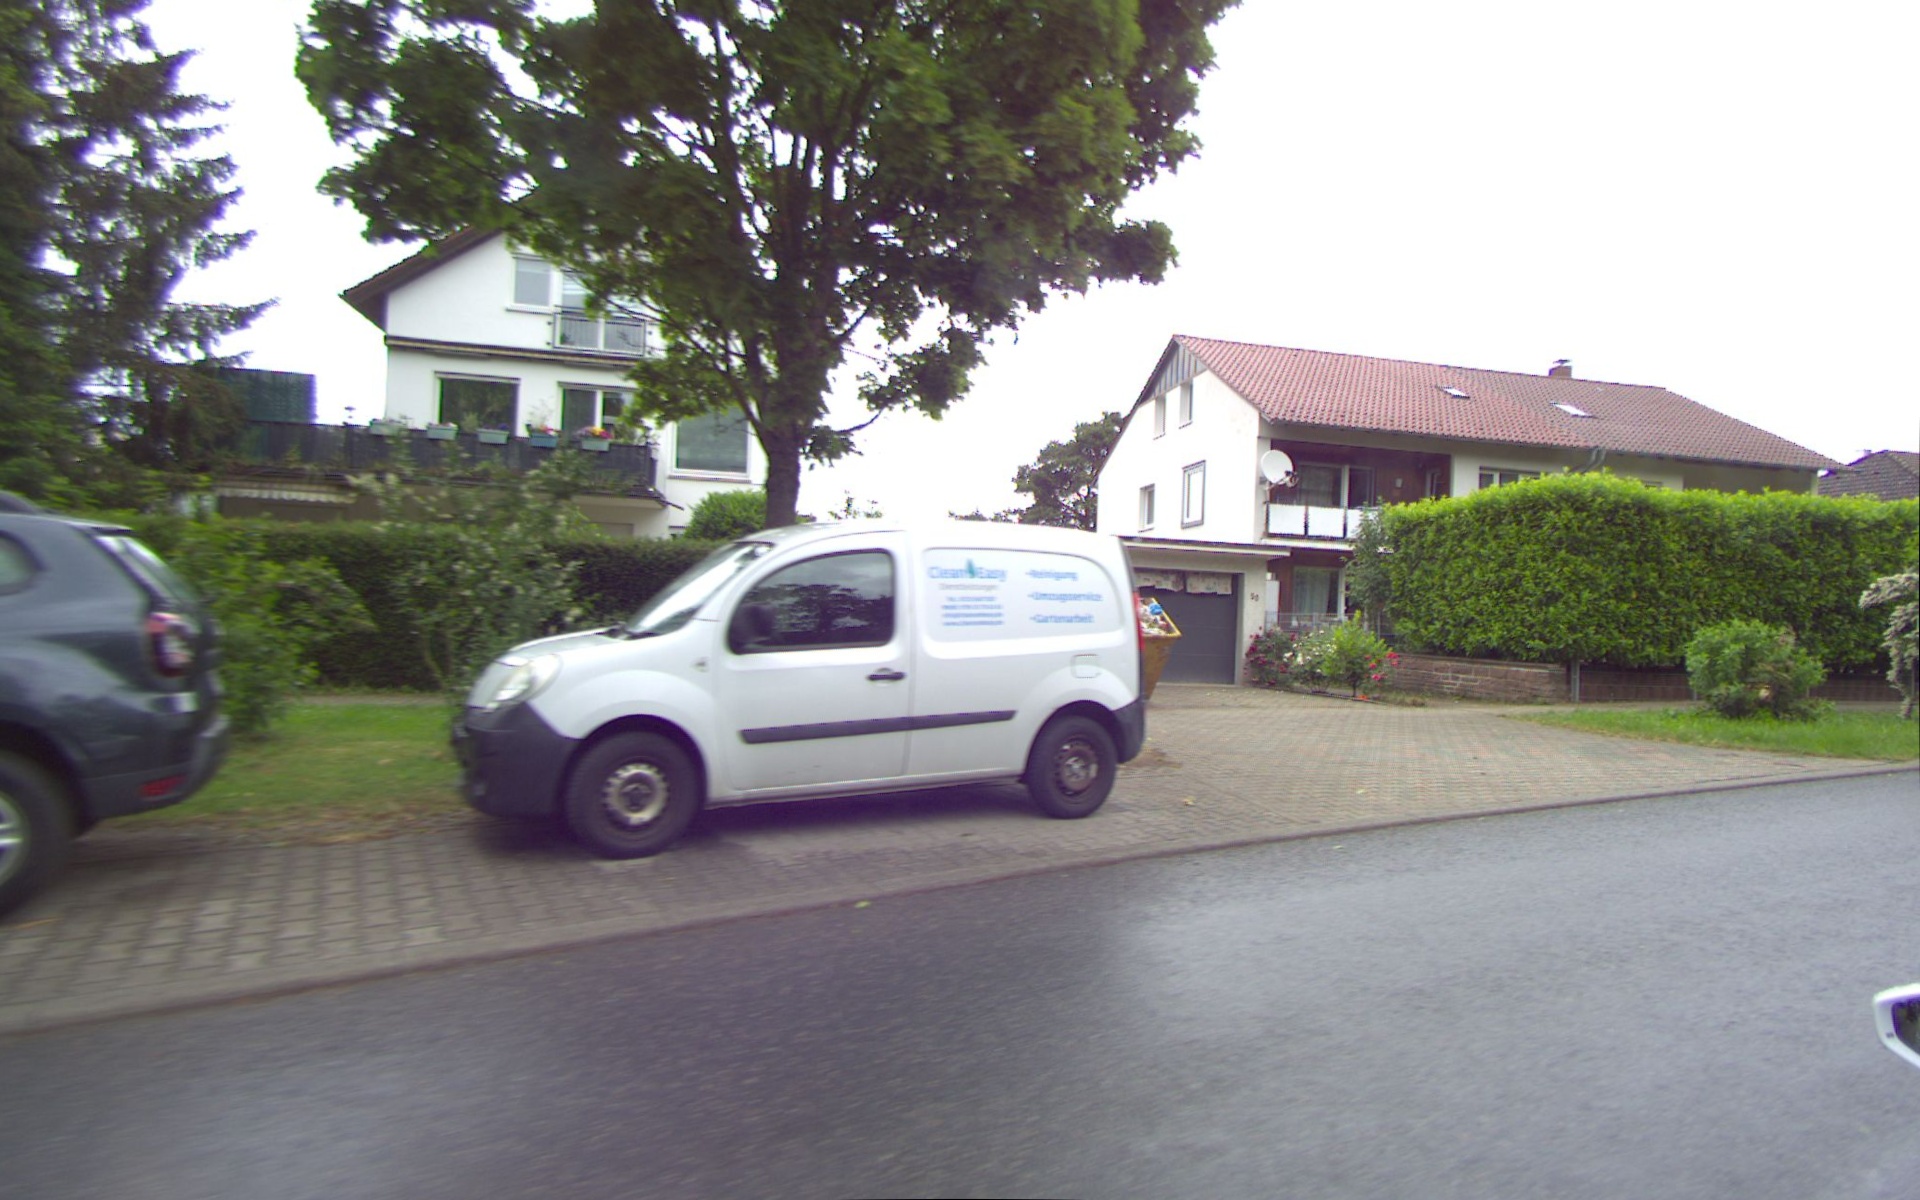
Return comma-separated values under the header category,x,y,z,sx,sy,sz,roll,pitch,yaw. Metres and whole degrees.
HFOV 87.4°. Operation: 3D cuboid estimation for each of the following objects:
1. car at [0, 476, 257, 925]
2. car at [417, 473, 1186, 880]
category,x,y,z,sx,sy,sz,roll,pitch,yaw
car,-5.297,0.280,3.534,4.546,1.662,1.738,3,1,-35
car,-0.887,0.383,6.284,4.317,1.820,1.791,2,1,-28
